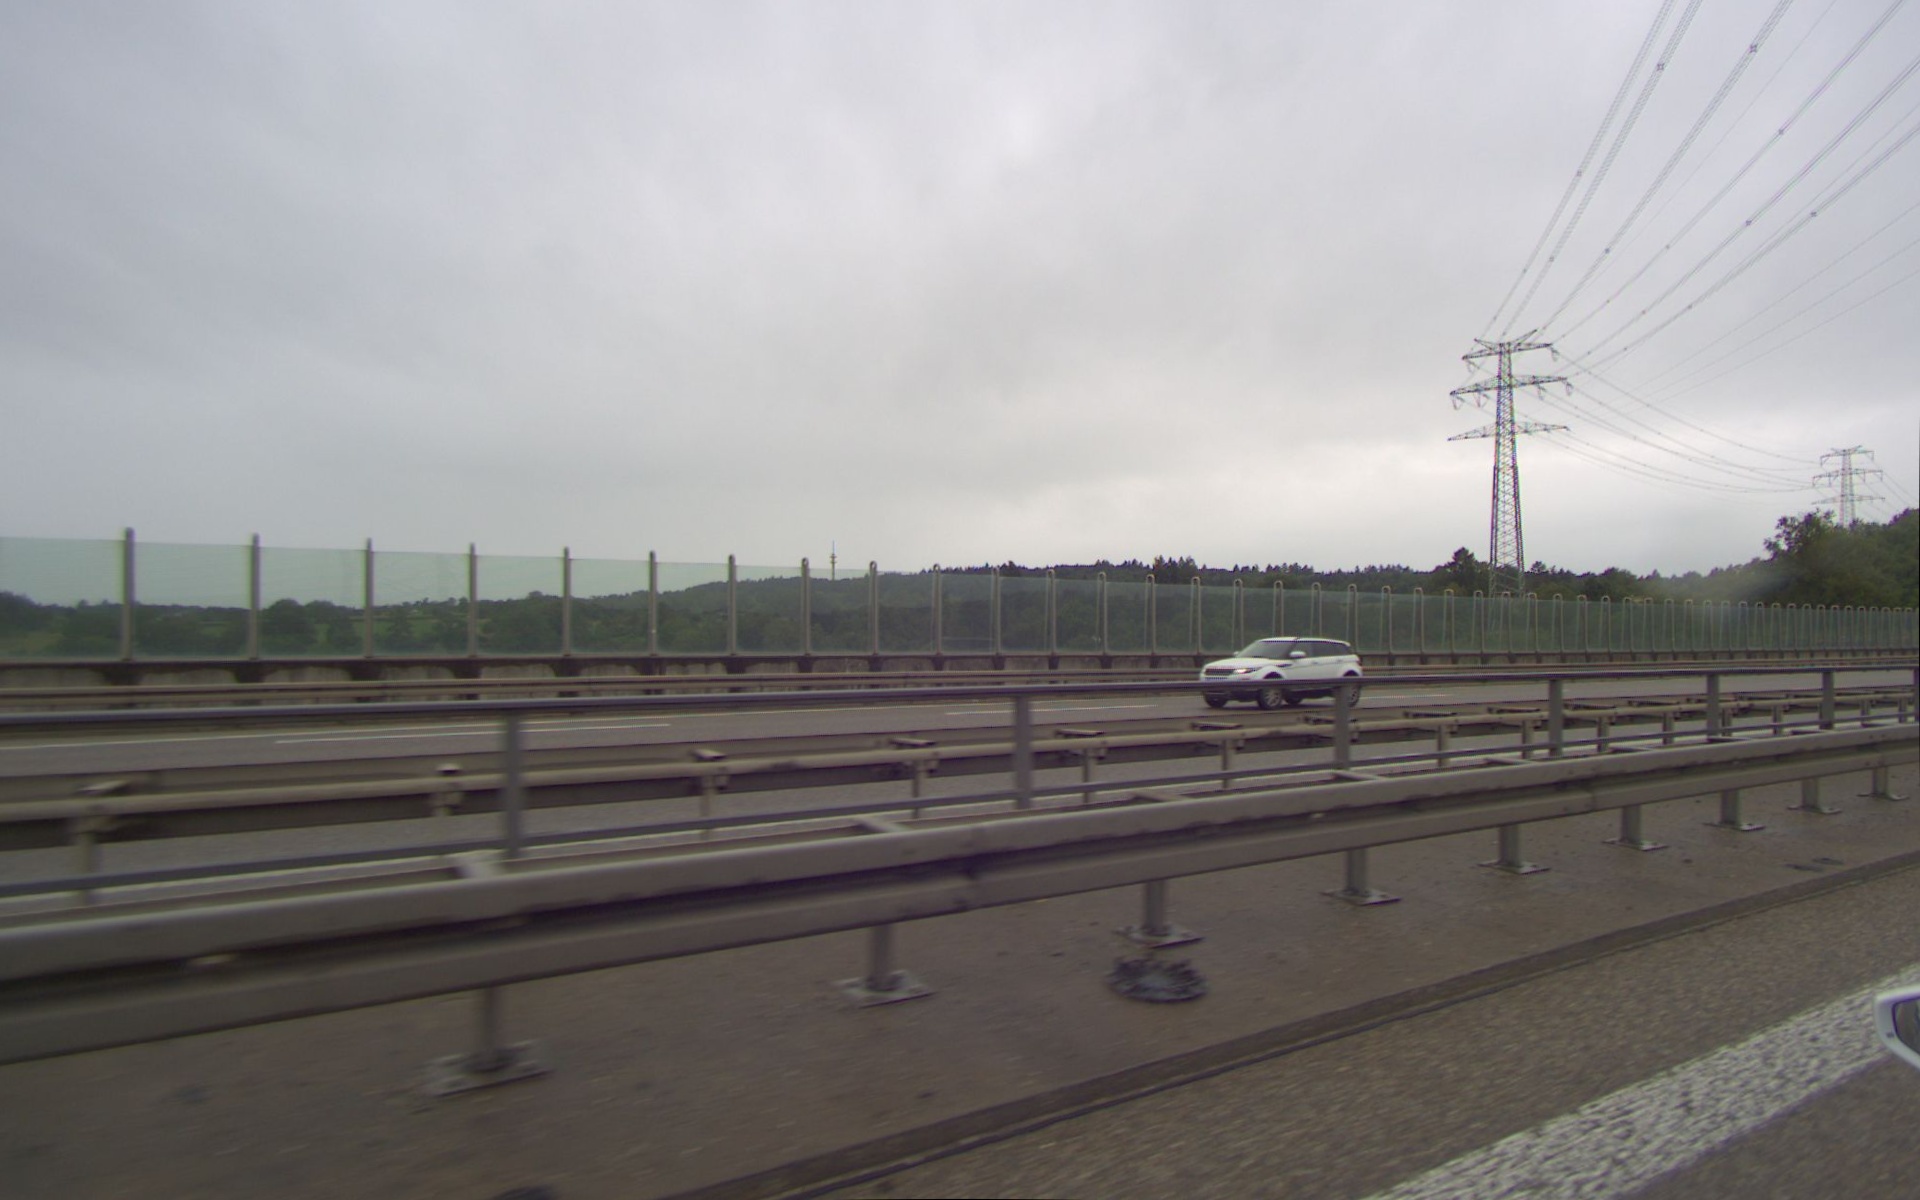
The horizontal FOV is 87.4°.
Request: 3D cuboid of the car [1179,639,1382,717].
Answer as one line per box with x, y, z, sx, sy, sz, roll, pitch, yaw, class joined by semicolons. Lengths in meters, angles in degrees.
7.544;1.746;23.550;4.658;1.651;1.984;1;-2;-31;car
